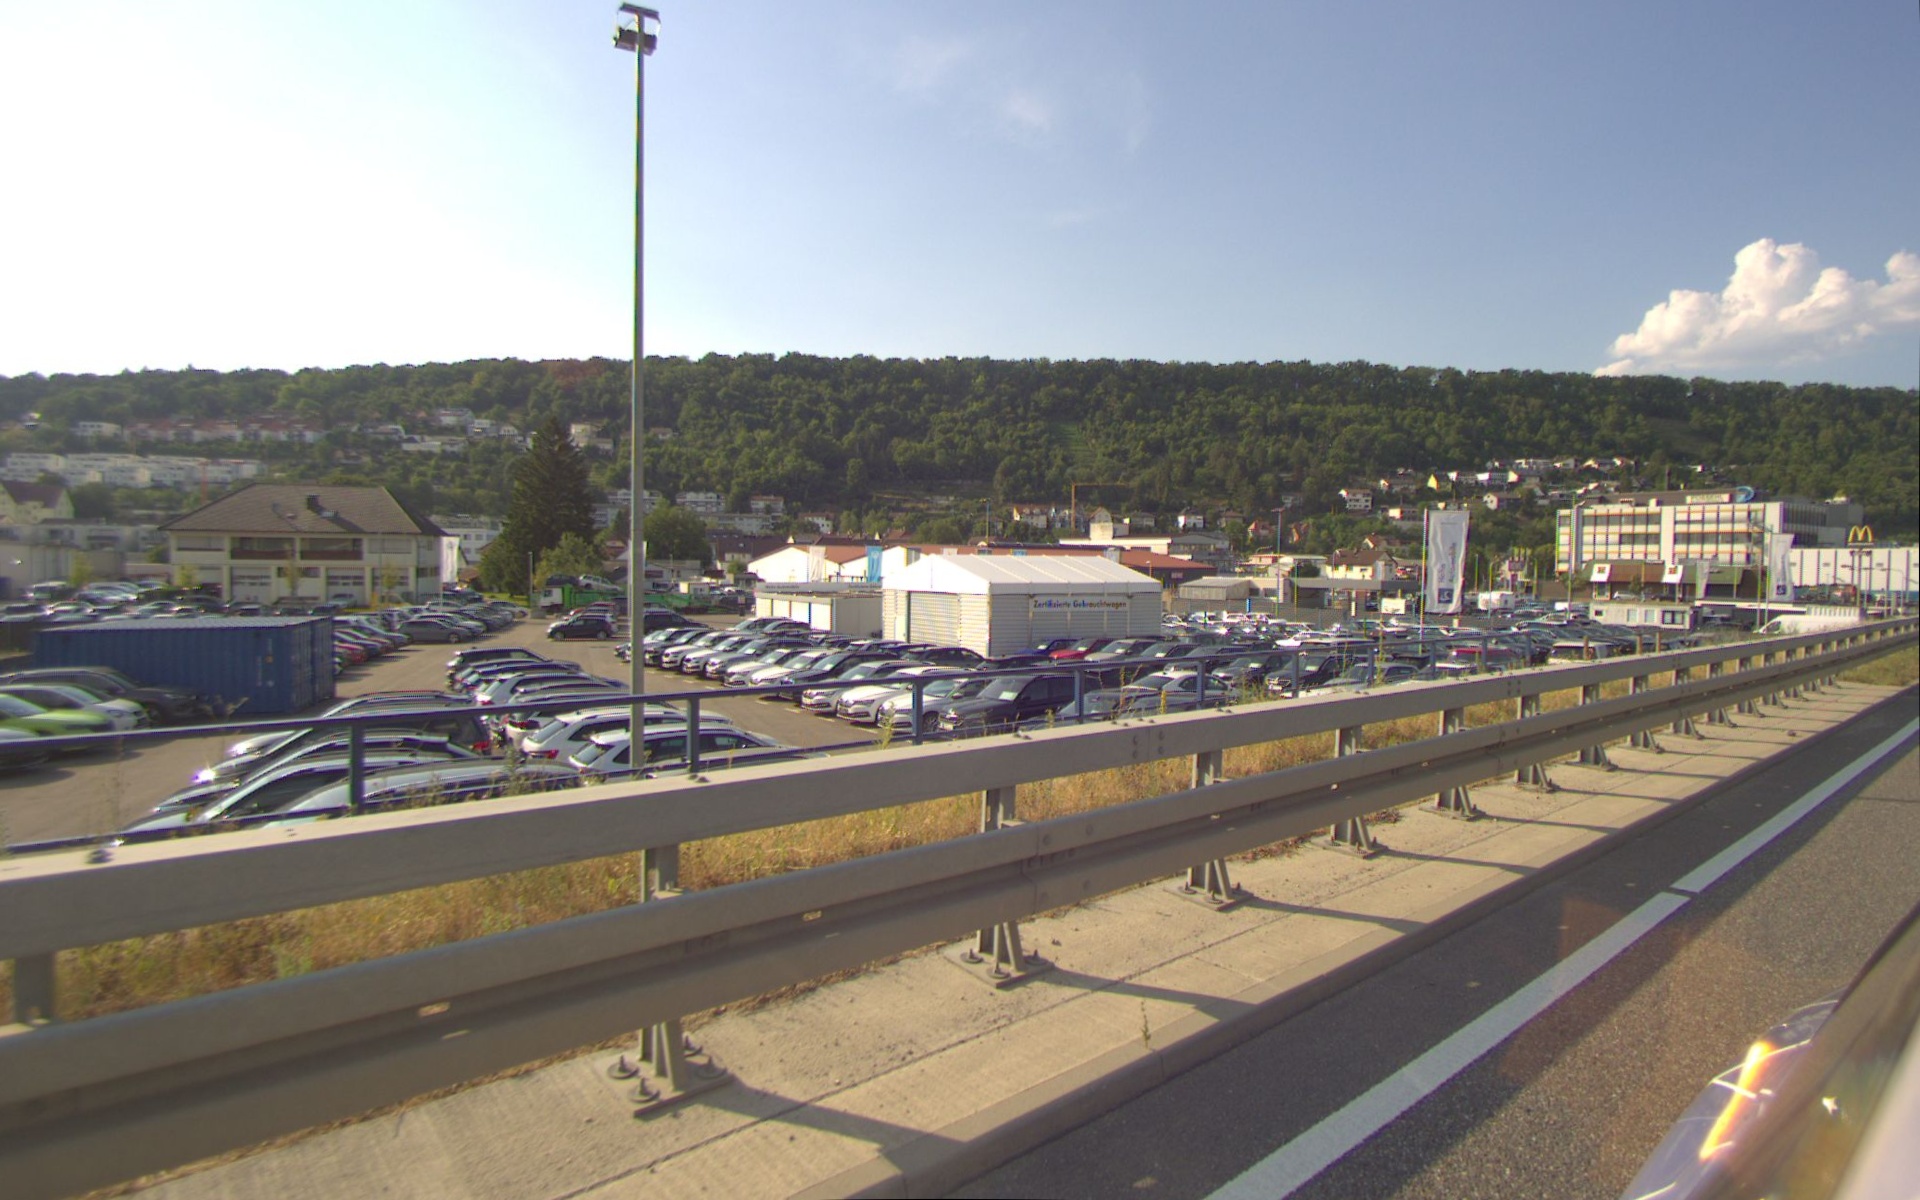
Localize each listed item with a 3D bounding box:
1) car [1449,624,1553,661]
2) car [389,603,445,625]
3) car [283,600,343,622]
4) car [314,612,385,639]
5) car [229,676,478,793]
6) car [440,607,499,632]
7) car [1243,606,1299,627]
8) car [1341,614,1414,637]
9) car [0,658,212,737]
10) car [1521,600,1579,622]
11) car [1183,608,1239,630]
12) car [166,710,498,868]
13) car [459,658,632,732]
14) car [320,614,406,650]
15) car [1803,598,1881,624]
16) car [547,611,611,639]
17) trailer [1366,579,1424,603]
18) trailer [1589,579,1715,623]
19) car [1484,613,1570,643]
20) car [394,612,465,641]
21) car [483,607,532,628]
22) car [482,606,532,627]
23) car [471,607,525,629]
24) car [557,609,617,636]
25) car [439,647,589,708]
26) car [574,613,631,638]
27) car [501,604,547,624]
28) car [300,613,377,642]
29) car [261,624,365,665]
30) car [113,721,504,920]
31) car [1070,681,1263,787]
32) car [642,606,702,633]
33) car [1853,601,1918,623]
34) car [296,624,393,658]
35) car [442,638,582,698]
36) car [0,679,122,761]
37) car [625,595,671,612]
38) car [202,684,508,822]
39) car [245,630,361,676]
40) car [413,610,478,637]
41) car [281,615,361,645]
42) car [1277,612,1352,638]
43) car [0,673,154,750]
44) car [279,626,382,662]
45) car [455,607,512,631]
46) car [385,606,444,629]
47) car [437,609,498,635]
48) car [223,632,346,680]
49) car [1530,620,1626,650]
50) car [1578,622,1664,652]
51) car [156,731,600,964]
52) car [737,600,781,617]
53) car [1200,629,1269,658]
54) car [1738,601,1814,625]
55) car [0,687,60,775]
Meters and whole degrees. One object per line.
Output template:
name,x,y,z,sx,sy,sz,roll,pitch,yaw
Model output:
car,27.895,2.145,52.287,1.806,1.687,4.434,-2,1,-33
car,-43.103,1.130,80.402,3.701,1.597,1.756,-1,1,-21
car,-51.144,0.829,80.061,3.701,1.597,1.756,-1,1,-21
car,-40.026,1.663,66.422,3.701,1.597,1.756,-1,1,-21
car,-11.523,2.493,19.522,3.919,1.663,1.962,-2,1,-29
car,-35.172,1.376,72.672,3.702,1.597,1.756,-1,1,-24
car,25.547,1.311,83.257,1.766,1.563,4.347,-2,1,-33
car,29.082,1.743,70.607,1.766,1.386,4.434,-2,1,-33
car,-22.179,2.489,26.473,3.919,1.614,1.962,-2,1,-29
car,51.471,0.958,88.349,1.772,1.677,3.999,-2,3,-37
car,19.552,1.476,79.012,1.765,1.563,4.350,-1,1,-29
car,-9.052,2.602,14.738,3.929,1.482,1.710,-2,1,-39
car,-10.902,2.437,26.720,3.926,1.482,1.711,-2,1,-37
car,-32.351,1.703,54.955,3.920,1.772,2.002,-2,1,-29
car,63.470,0.736,72.856,1.868,1.772,3.996,-2,1,-39
car,-23.910,1.569,63.638,3.701,1.597,1.756,-1,1,-19
trailer,39.297,-0.840,91.370,6.167,2.047,1.999,-2,1,-36
trailer,56.498,0.021,82.805,3.296,3.364,7.902,-2,1,-36
car,35.959,1.724,64.260,1.766,1.735,4.434,-1,1,-33
car,-32.298,1.603,61.746,3.702,1.597,1.756,-1,1,-24
car,-37.956,1.424,84.893,3.702,1.597,1.756,-1,1,-24
car,-36.966,1.325,82.629,3.702,1.597,1.756,-1,1,-24
car,-35.632,1.374,78.125,3.702,1.597,1.756,-1,1,-24
car,-24.593,1.466,66.838,3.701,1.597,1.756,-1,1,-19
car,-13.675,2.332,31.088,3.926,1.482,1.711,-2,1,-37
car,-24.868,1.758,70.498,3.701,1.597,1.756,-1,1,-19
car,-38.772,1.215,89.965,3.702,1.597,1.756,-1,1,-24
car,-38.127,1.657,62.178,3.701,1.597,1.756,-1,1,-21
car,-29.241,1.982,45.857,3.702,1.597,1.756,-1,1,-24
car,-8.082,2.600,12.780,3.929,1.583,1.710,-2,1,-39
car,4.149,2.555,20.021,3.931,1.482,1.708,-2,1,-41
car,-18.854,1.262,66.277,3.701,1.597,1.756,-1,1,-19
car,81.892,1.039,89.578,1.802,1.838,3.995,-2,1,-39
car,-30.577,2.005,50.373,3.918,1.482,1.714,-2,1,-25
car,-14.790,2.191,33.484,3.926,1.623,1.711,-2,1,-37
car,-20.877,2.636,21.889,3.918,1.482,1.714,-2,1,-25
car,-28.070,0.317,91.022,3.916,1.367,1.593,-1,1,-18
car,-10.169,2.462,17.197,4.274,1.643,1.711,-2,1,-36
car,-26.815,2.132,41.450,3.702,1.597,1.756,-1,1,-24
car,-33.641,1.533,66.266,3.702,1.597,1.756,-1,1,-24
car,-37.572,1.729,59.614,3.701,1.597,1.756,-1,1,-21
car,23.127,1.608,66.195,1.766,1.563,4.434,-2,1,-33
car,-21.835,2.652,23.999,3.918,1.482,1.714,-2,1,-25
car,-29.840,2.073,48.095,3.918,1.482,1.714,-2,1,-25
car,-35.197,1.380,74.849,3.702,1.597,1.756,-1,1,-24
car,-41.202,1.317,76.539,3.701,1.597,1.756,-1,1,-21
car,-33.725,1.482,69.427,3.702,1.597,1.756,-1,1,-24
car,-26.180,2.154,39.359,3.702,1.597,1.756,-1,1,-24
car,35.678,1.991,58.509,1.766,1.563,4.434,-2,1,-33
car,39.706,2.200,60.889,1.754,1.563,3.984,-2,1,-37
car,-6.186,2.467,11.004,3.931,1.482,1.709,-2,1,-41
car,-19.836,0.830,99.875,4.138,1.521,1.593,-1,1,-18
car,16.811,2.641,62.155,1.746,1.584,4.004,-1,1,-30
car,64.471,0.969,80.006,2.093,1.772,4.331,-2,1,-39
car,-20.293,2.648,19.614,3.920,1.521,1.815,-2,1,-29
